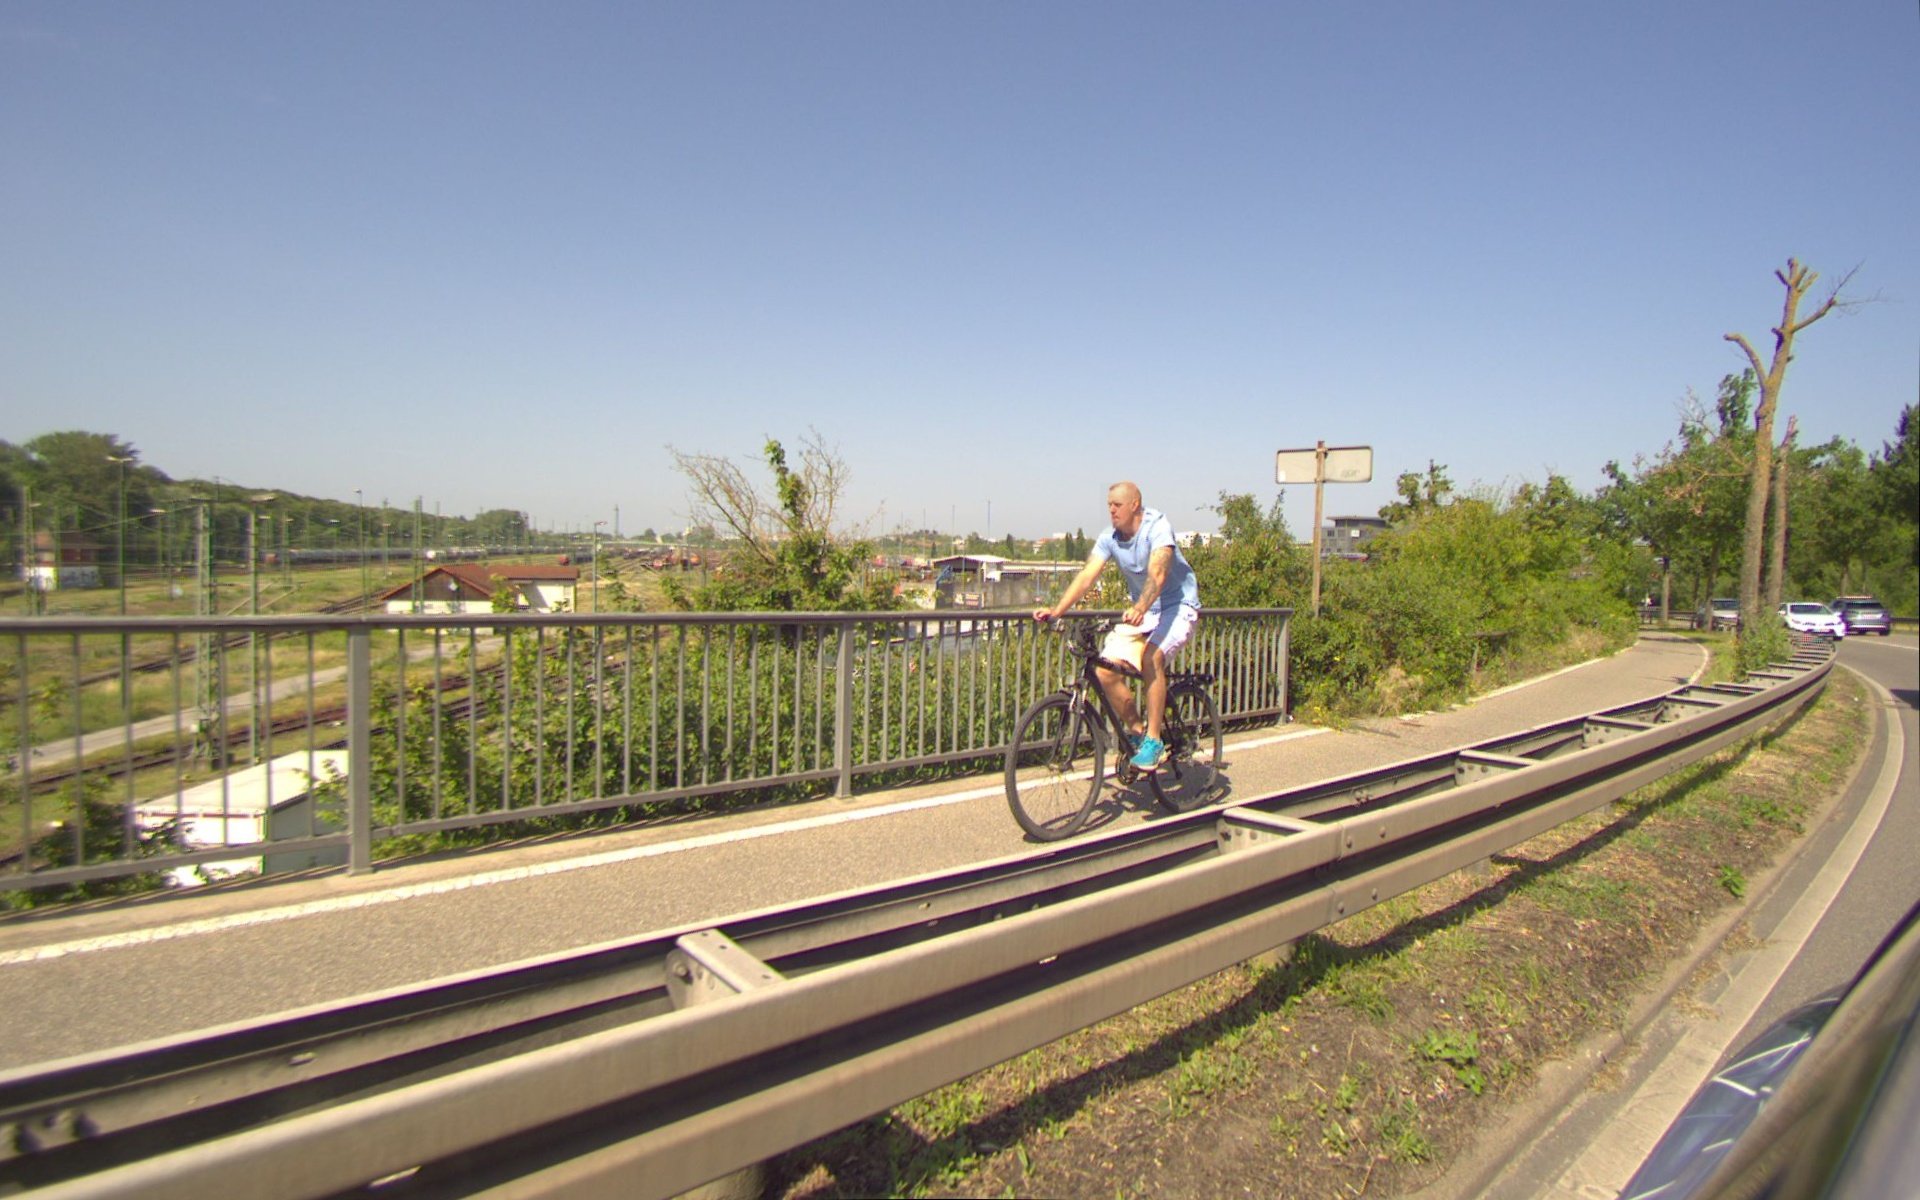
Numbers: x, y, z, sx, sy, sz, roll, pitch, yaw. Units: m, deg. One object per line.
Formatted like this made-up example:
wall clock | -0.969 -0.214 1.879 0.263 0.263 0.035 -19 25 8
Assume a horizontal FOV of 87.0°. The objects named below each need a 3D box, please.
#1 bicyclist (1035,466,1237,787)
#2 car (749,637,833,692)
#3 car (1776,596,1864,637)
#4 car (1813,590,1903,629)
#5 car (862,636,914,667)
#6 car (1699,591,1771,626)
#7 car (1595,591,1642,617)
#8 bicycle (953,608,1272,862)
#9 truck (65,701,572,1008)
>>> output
bicyclist | 0.930 0.099 5.338 0.658 1.538 0.790 5 5 44
car | -10.213 3.870 61.724 2.284 2.696 5.334 -4 0 25
car | 34.294 0.617 40.471 1.830 1.507 4.110 0 0 28
car | 39.788 0.379 44.936 1.917 1.552 4.082 -1 2 26
car | -5.098 3.669 72.165 1.979 1.895 3.965 -4 -2 25
car | 39.469 0.396 51.637 1.978 1.605 3.968 -1 1 24
car | 48.234 0.286 74.187 1.974 1.790 3.975 -1 0 19
bicycle | 0.867 0.607 5.367 0.703 1.032 1.816 6 5 44
truck | -15.429 5.726 26.809 3.758 4.078 13.249 3 2 7
